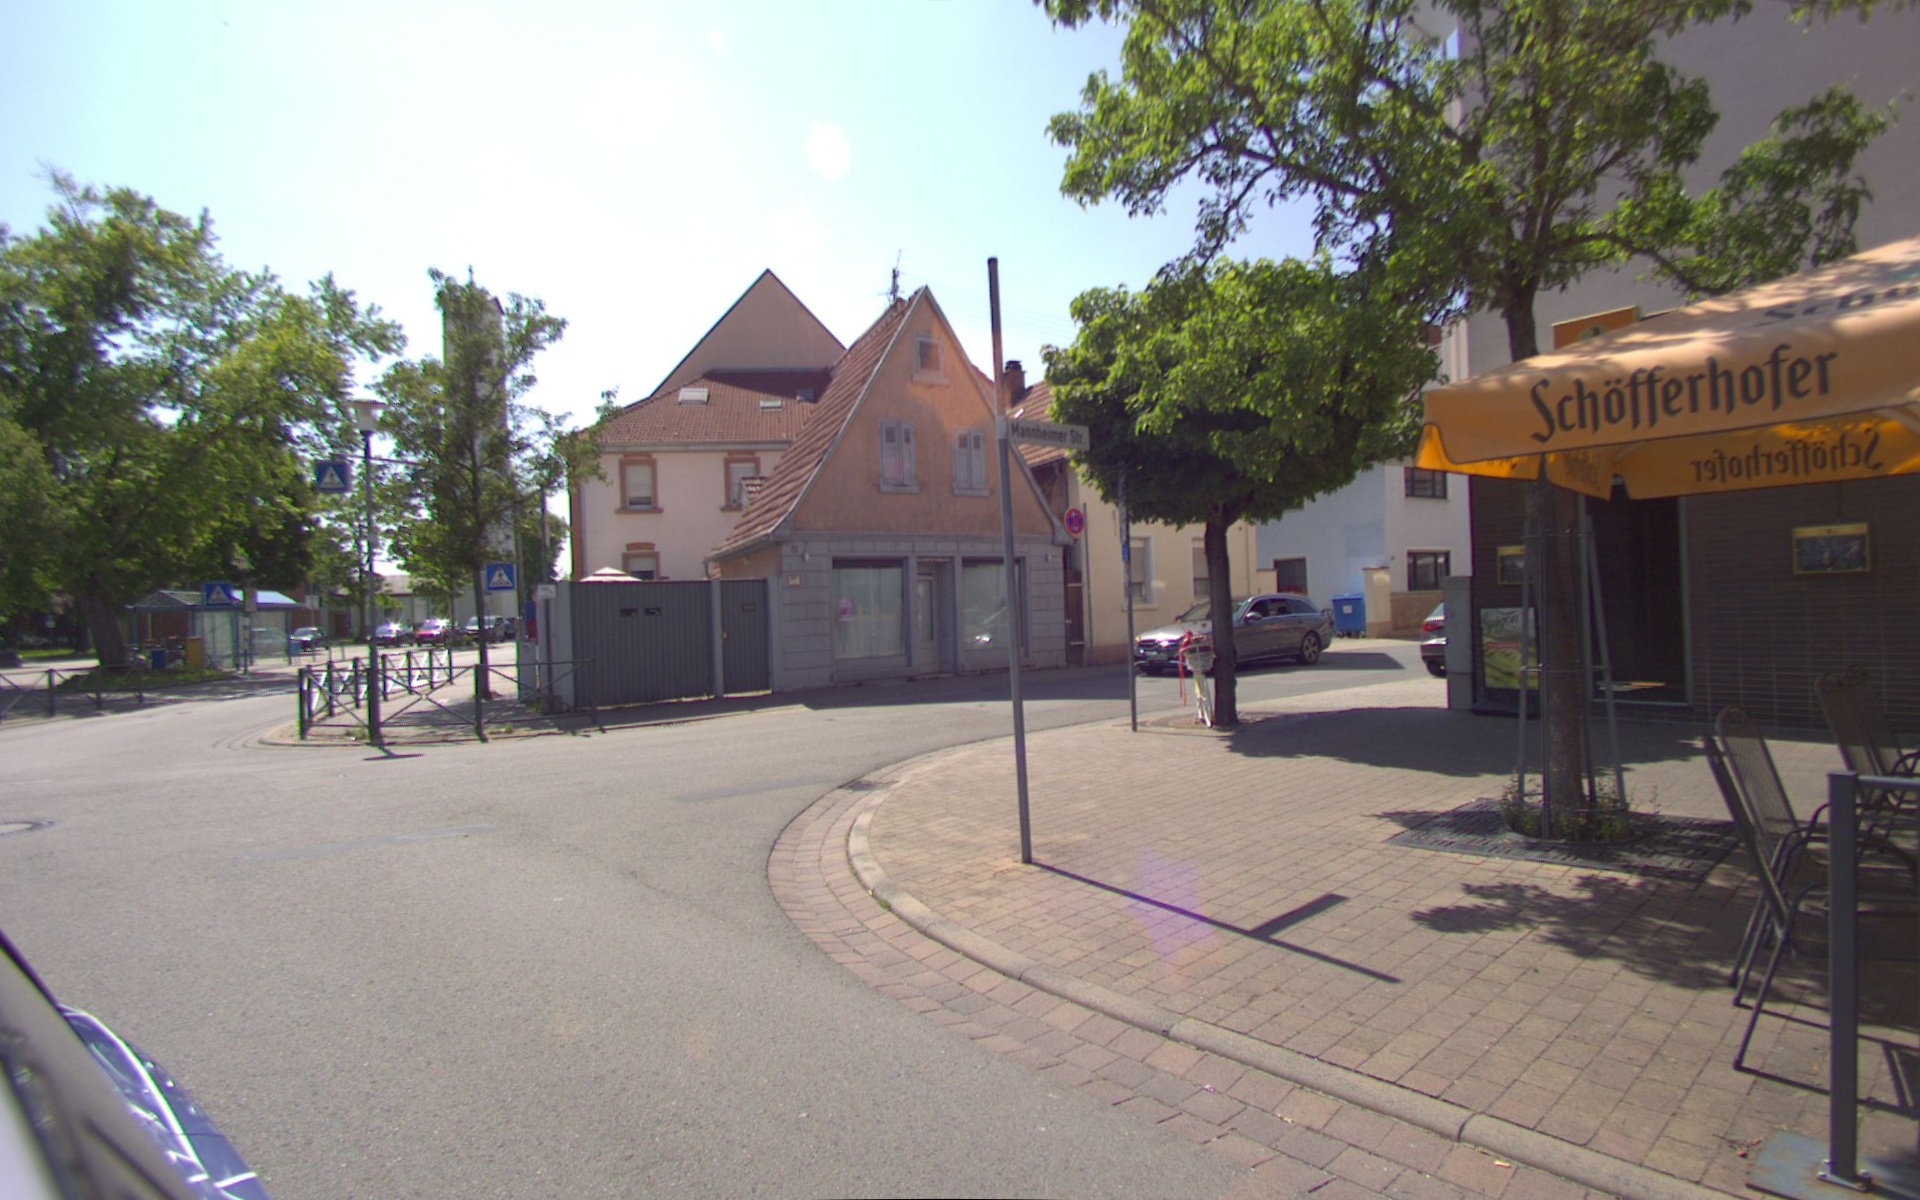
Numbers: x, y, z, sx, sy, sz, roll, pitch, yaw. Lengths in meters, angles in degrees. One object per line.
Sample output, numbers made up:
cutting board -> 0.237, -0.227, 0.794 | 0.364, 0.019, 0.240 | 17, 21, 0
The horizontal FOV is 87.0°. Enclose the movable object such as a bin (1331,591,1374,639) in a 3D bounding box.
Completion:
movable object such as a bin -> 11.596, 0.441, 29.930 | 0.383, 1.376, 1.108 | -2, -2, -34

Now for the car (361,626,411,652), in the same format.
car -> -35.713, 2.422, 63.091 | 1.623, 1.479, 3.788 | -2, -1, -13

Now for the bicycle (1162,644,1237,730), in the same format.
bicycle -> 2.769, 0.985, 11.826 | 0.458, 0.904, 1.414 | -4, -2, -1

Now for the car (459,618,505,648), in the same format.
car -> -30.469, 2.087, 64.627 | 1.752, 1.807, 4.009 | -1, -1, -11

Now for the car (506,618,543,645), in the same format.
car -> -29.441, 2.144, 68.495 | 1.751, 1.658, 4.011 | -2, -1, -16

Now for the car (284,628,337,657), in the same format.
car -> -39.782, 2.586, 62.063 | 1.965, 1.628, 4.013 | -2, -1, -21

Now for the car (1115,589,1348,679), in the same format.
car -> 5.461, 0.625, 20.069 | 4.766, 1.492, 1.919 | -2, -1, -38

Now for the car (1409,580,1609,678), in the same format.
car -> 9.351, 0.456, 17.170 | 3.428, 1.465, 1.585 | -2, -2, -36

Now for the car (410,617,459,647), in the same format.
car -> -33.286, 2.029, 64.222 | 1.752, 1.807, 4.010 | -2, -1, -13
